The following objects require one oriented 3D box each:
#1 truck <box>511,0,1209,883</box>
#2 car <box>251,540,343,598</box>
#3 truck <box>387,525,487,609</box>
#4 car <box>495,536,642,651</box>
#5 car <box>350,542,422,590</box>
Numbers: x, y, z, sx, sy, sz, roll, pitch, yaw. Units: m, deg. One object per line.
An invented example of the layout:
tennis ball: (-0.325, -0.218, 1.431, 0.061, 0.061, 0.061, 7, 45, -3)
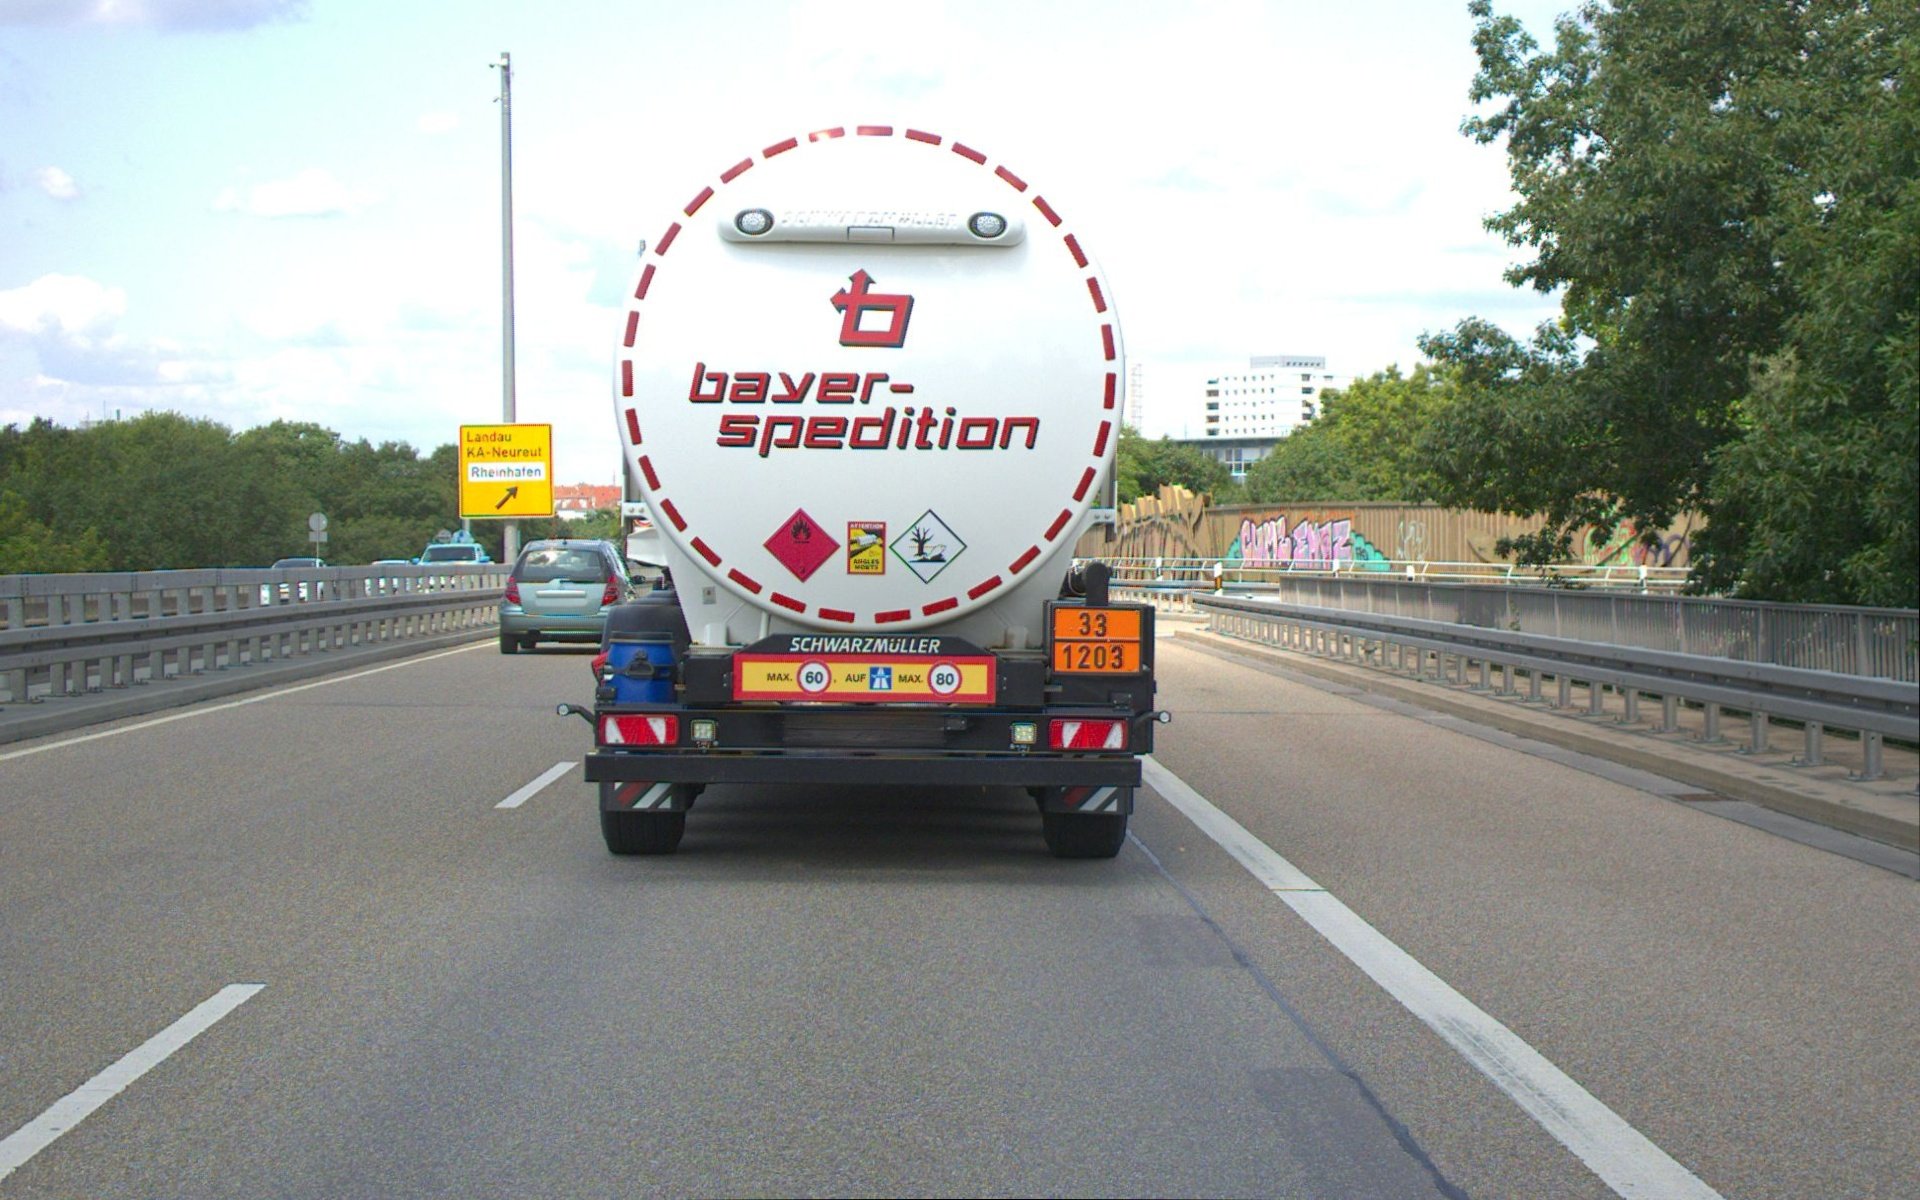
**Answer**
truck: (-0.566, -1.057, 18.668, 2.895, 4.354, 8.030, 1, 1, -2)
car: (-18.725, -0.896, 97.268, 1.829, 1.576, 3.954, 1, 1, 0)
truck: (-14.107, -0.911, 92.976, 1.873, 2.179, 5.188, 1, 1, 0)
car: (-5.494, -0.125, 48.642, 1.747, 1.526, 4.001, 0, 1, -2)
car: (-19.119, -1.148, 114.554, 1.902, 1.524, 4.244, 1, 1, -3)
